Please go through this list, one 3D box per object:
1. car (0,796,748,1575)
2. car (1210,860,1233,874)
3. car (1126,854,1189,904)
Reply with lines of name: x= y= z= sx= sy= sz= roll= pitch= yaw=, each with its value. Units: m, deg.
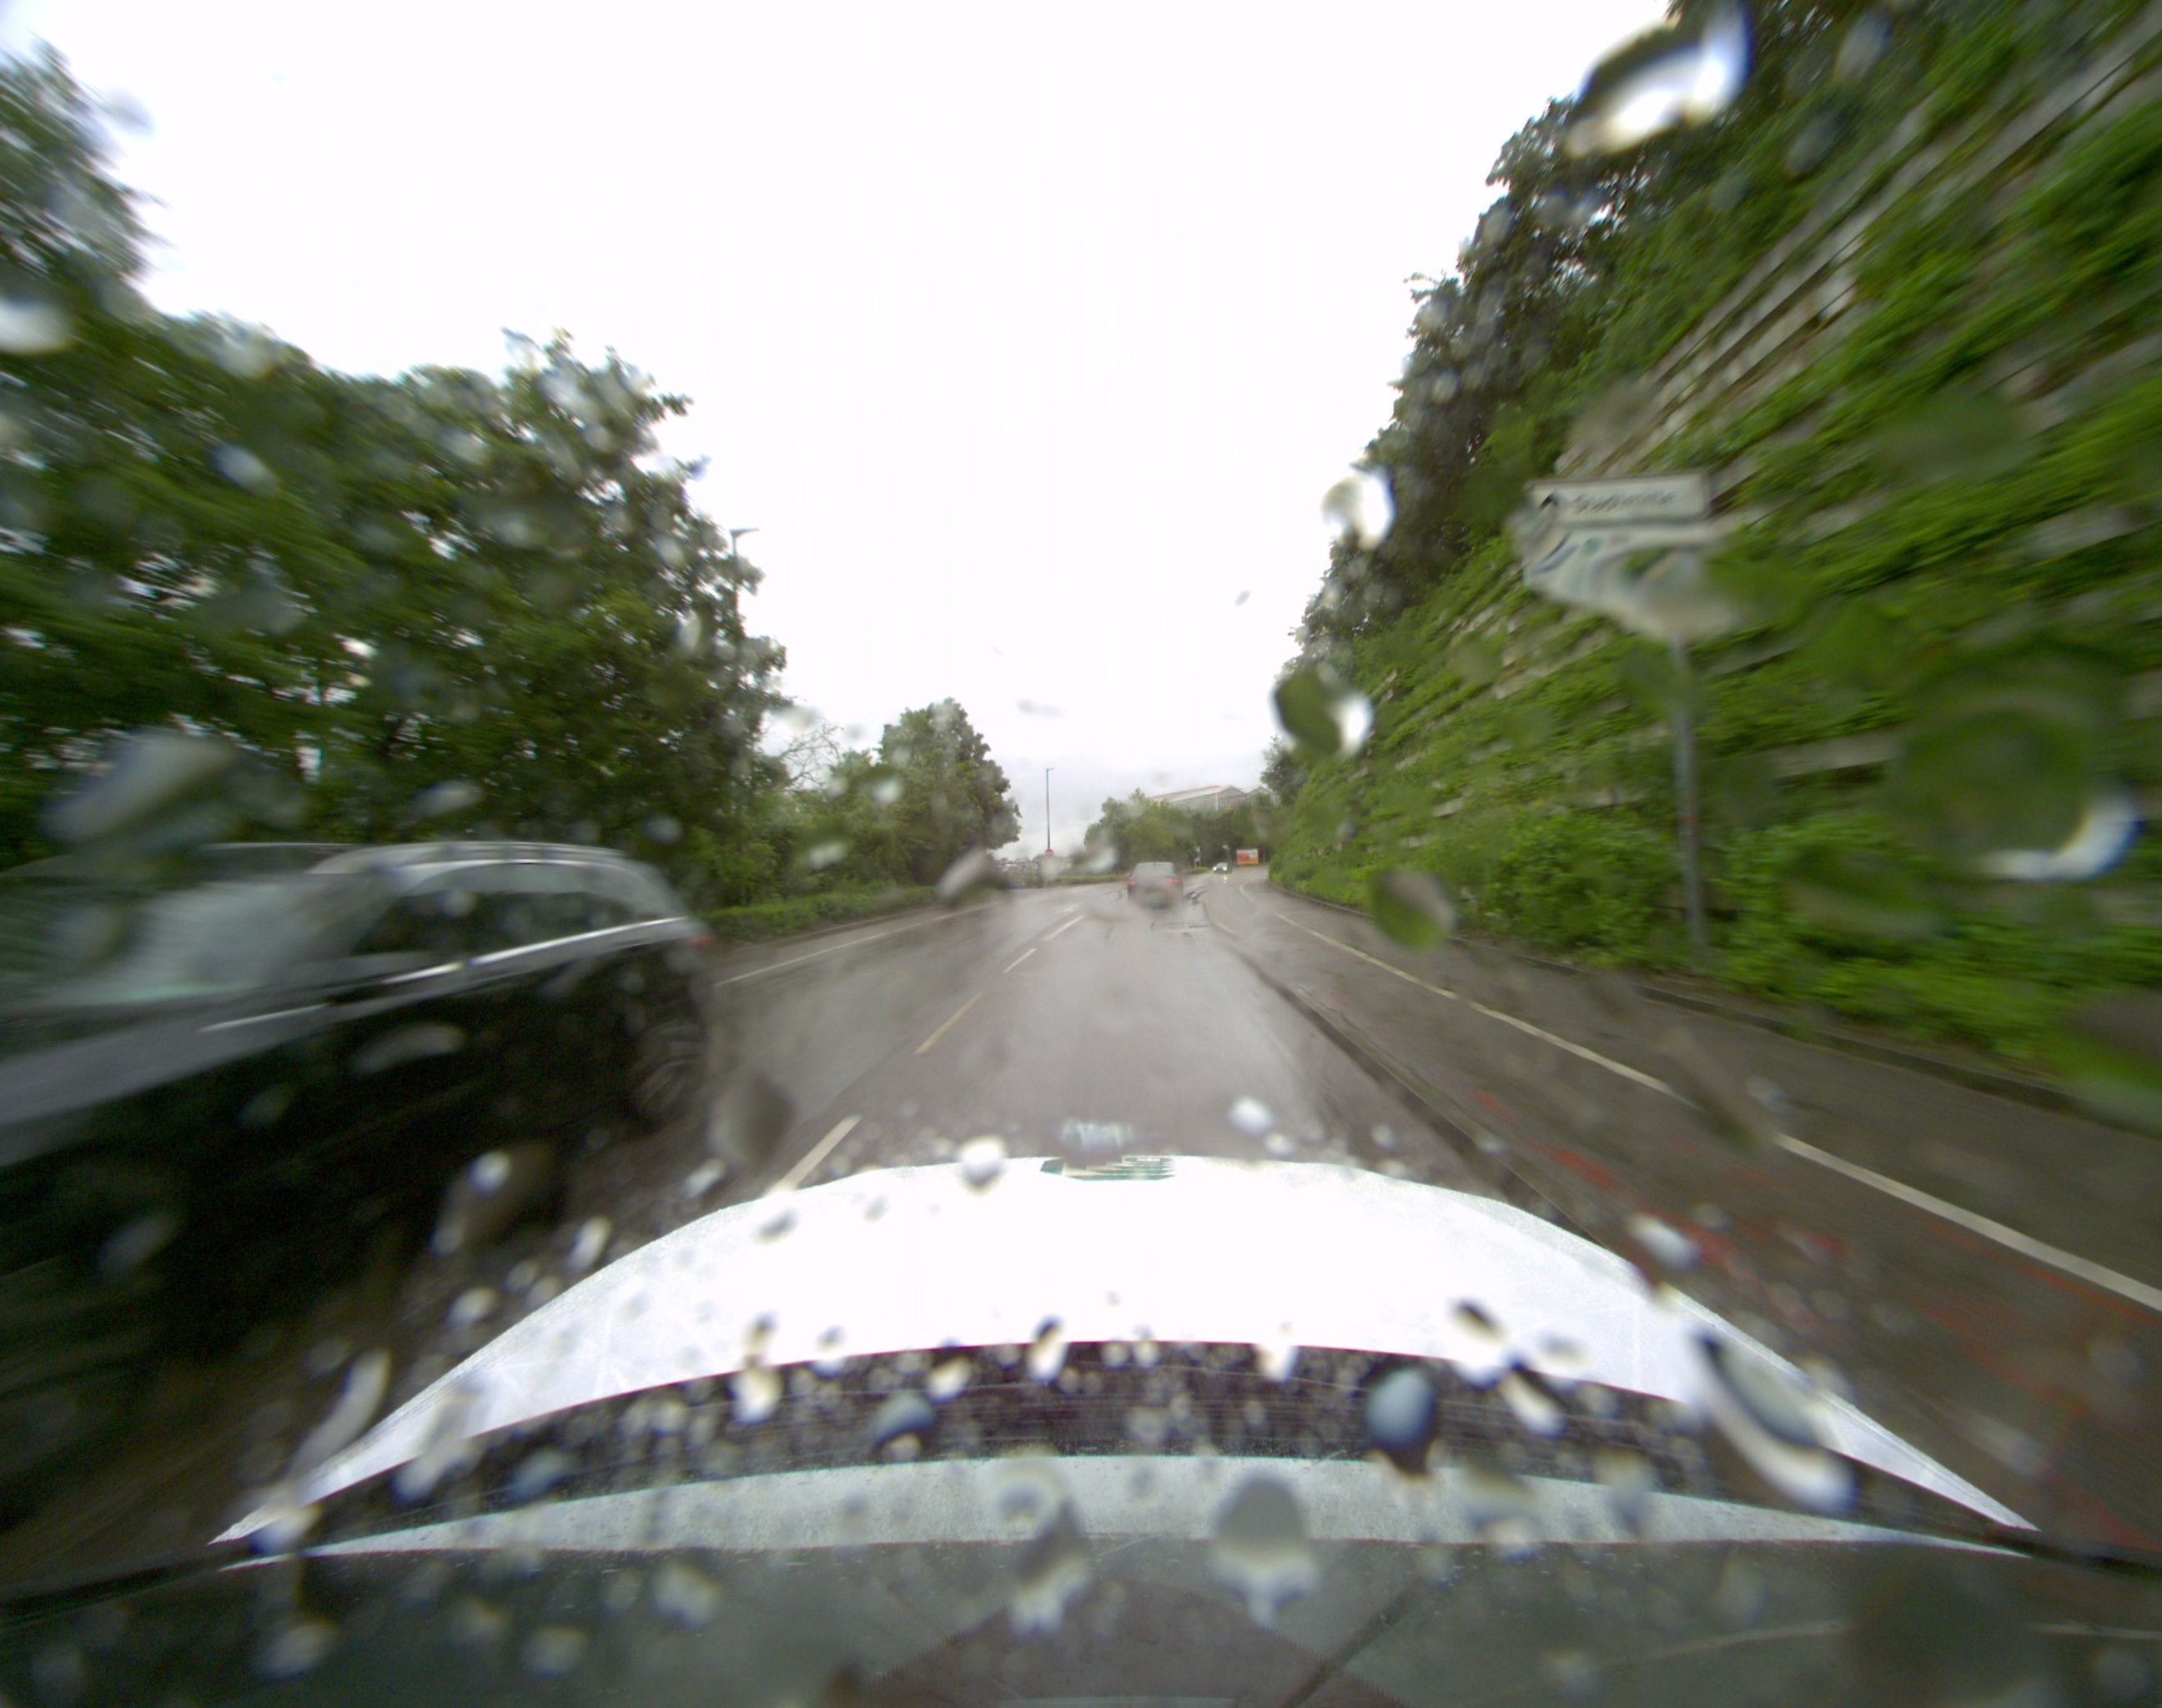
car: x=-3.234 y=0.732 z=3.323 sx=1.823 sy=1.706 sz=4.335 roll=-1 pitch=0 yaw=2
car: x=18.799 y=1.748 z=108.850 sx=1.976 sy=1.741 sz=4.022 roll=-2 pitch=-1 yaw=23
car: x=2.469 y=0.751 z=26.876 sx=1.884 sy=1.492 sz=4.212 roll=-1 pitch=0 yaw=4
